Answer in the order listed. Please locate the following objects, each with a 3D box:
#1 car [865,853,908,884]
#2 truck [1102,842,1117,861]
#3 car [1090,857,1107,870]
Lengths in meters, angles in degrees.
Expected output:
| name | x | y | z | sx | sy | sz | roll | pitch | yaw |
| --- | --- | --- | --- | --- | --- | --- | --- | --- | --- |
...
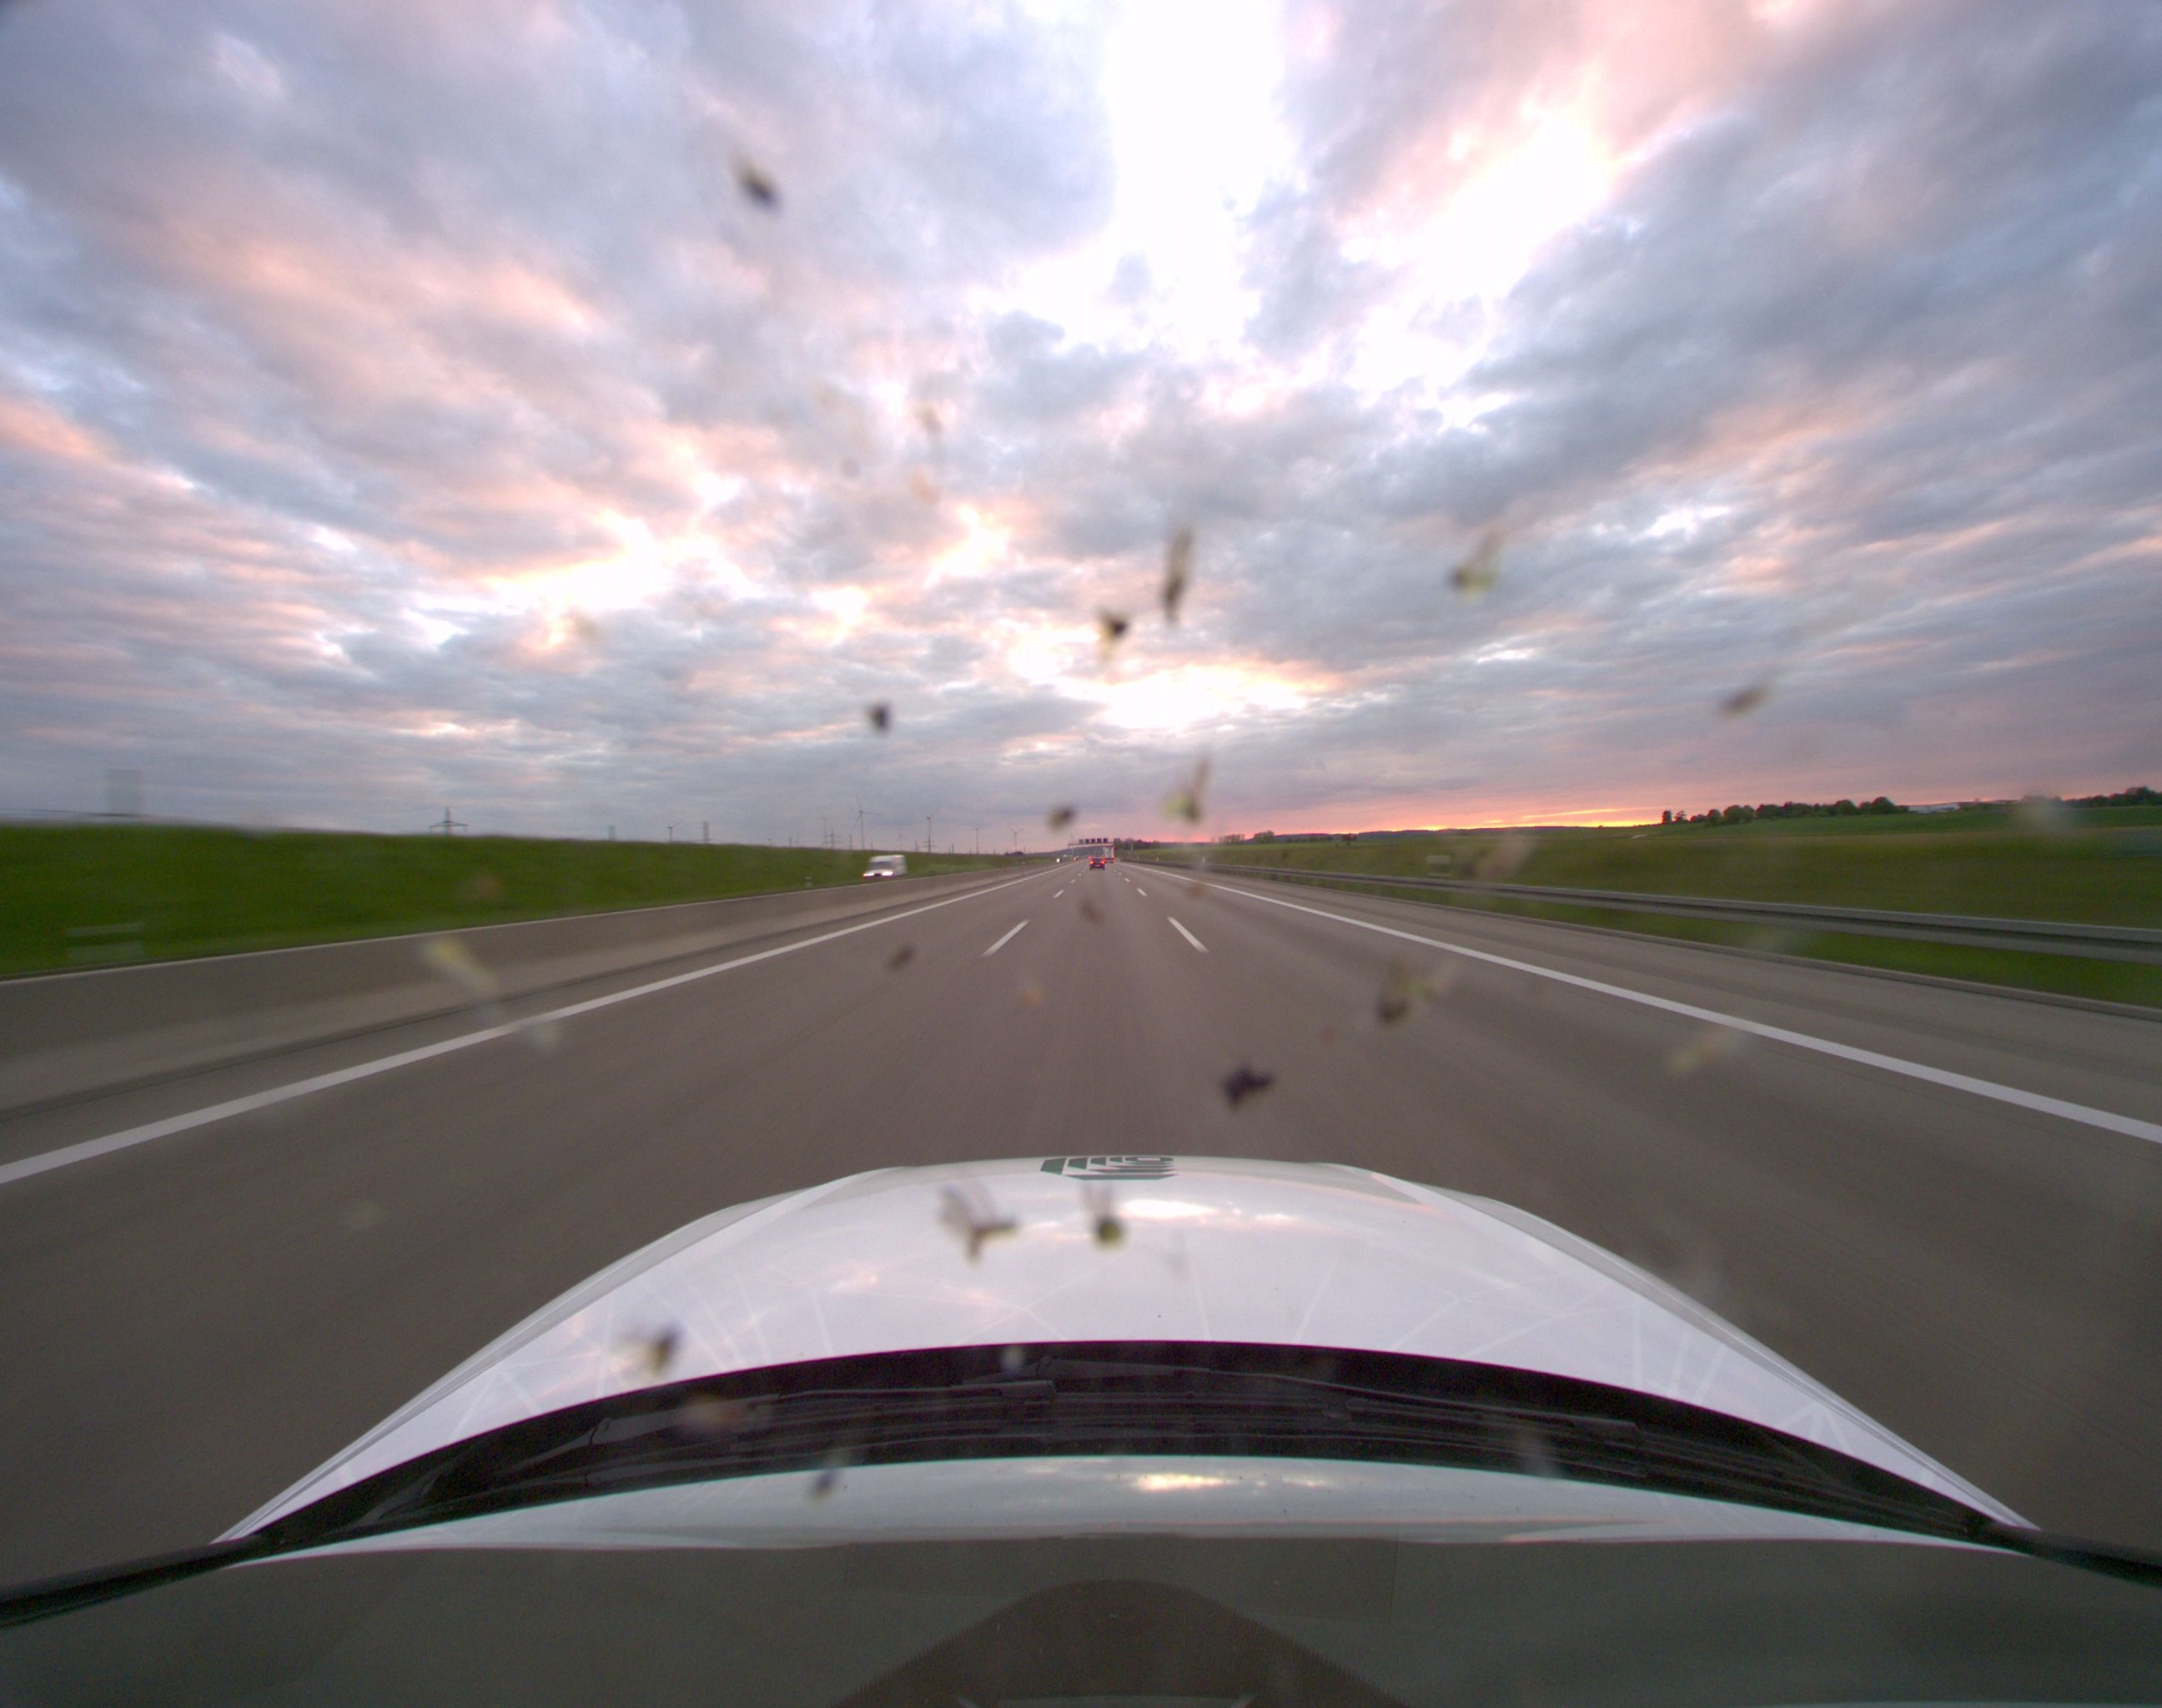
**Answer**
| name | x | y | z | sx | sy | sz | roll | pitch | yaw |
| --- | --- | --- | --- | --- | --- | --- | --- | --- | --- |
| car | -17.669 | 1.259 | 74.296 | 1.987 | 2.546 | 7.378 | -2 | 0 | 1 |
| truck | 7.414 | -0.600 | 213.628 | 3.662 | 4.565 | 10.982 | -2 | 0 | 1 |
| car | 2.076 | 1.098 | 96.222 | 1.980 | 1.429 | 4.002 | -2 | 0 | 2 |
